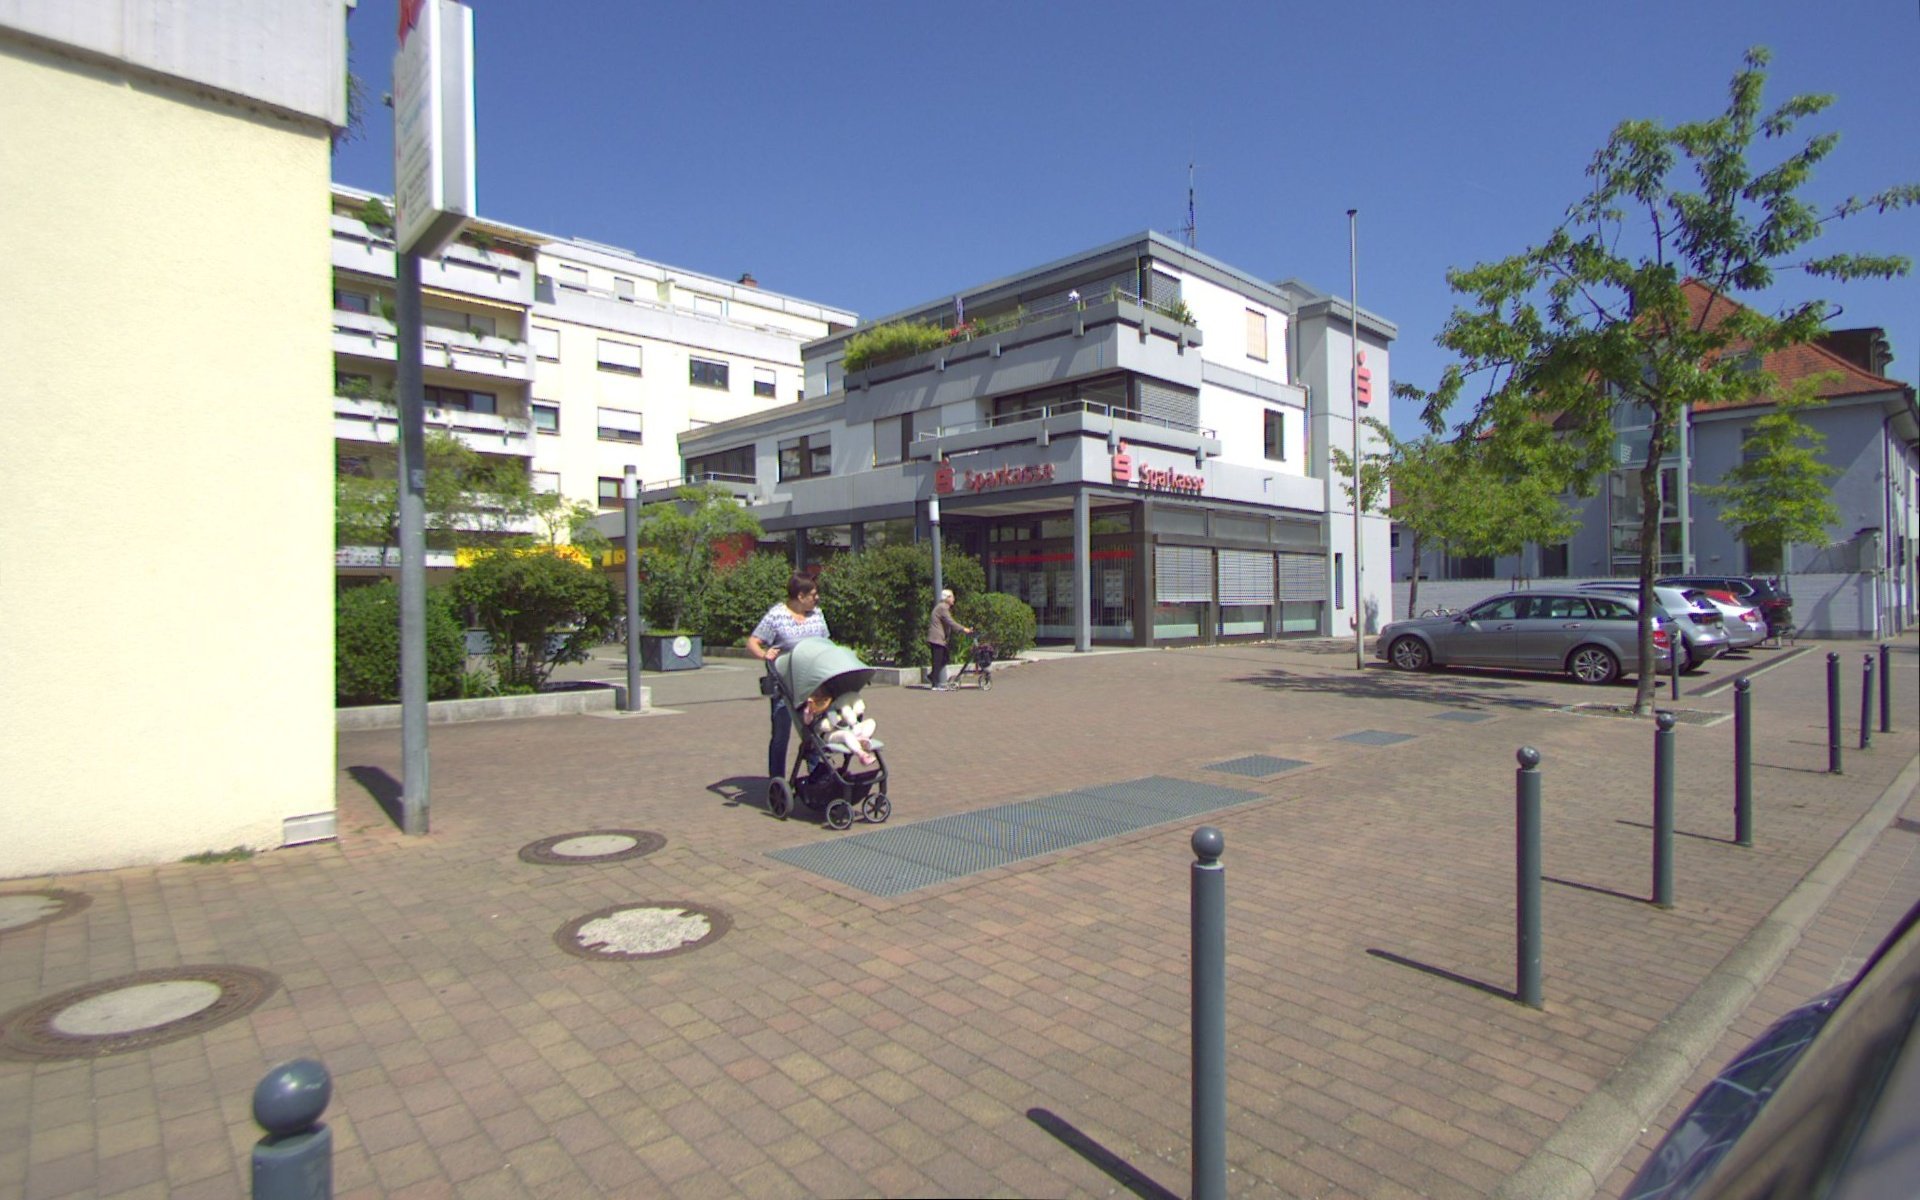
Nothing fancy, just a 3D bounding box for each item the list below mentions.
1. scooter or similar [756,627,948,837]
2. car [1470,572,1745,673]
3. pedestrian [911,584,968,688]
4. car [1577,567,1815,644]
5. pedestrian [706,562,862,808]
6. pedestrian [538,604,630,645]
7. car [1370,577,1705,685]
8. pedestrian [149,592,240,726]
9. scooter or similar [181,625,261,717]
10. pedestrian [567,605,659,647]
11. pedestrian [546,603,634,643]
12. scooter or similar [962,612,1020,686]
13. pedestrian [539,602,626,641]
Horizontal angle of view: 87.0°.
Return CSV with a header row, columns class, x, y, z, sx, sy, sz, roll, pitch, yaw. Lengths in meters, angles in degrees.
class,x,y,z,sx,sy,sz,roll,pitch,yaw
scooter or similar,-0.664,0.736,6.117,1.040,1.120,0.618,-1,-1,43
car,11.859,0.317,18.693,3.989,1.592,1.828,3,3,45
pedestrian,-0.324,0.536,15.313,0.795,1.516,0.669,-1,-1,-4
car,18.734,0.076,25.916,2.112,1.793,4.635,0,1,-43
pedestrian,-1.201,0.531,6.885,0.798,1.540,0.695,-1,0,43
pedestrian,-12.434,0.788,33.579,0.982,1.290,2.736,-1,0,40
car,9.532,0.399,16.967,4.575,1.531,1.887,2,2,43
pedestrian,-8.987,0.665,11.907,0.606,1.516,0.813,-1,0,-17
scooter or similar,-9.238,0.866,12.677,0.578,1.088,0.807,-1,0,-17
pedestrian,-11.317,0.828,33.122,0.982,1.290,2.736,-1,0,40
pedestrian,-12.683,0.757,34.757,0.982,1.290,2.736,-1,0,40
scooter or similar,0.464,0.732,15.378,0.789,1.088,0.591,-1,0,-5
pedestrian,-13.201,0.725,35.431,0.982,1.290,2.736,-1,0,40
